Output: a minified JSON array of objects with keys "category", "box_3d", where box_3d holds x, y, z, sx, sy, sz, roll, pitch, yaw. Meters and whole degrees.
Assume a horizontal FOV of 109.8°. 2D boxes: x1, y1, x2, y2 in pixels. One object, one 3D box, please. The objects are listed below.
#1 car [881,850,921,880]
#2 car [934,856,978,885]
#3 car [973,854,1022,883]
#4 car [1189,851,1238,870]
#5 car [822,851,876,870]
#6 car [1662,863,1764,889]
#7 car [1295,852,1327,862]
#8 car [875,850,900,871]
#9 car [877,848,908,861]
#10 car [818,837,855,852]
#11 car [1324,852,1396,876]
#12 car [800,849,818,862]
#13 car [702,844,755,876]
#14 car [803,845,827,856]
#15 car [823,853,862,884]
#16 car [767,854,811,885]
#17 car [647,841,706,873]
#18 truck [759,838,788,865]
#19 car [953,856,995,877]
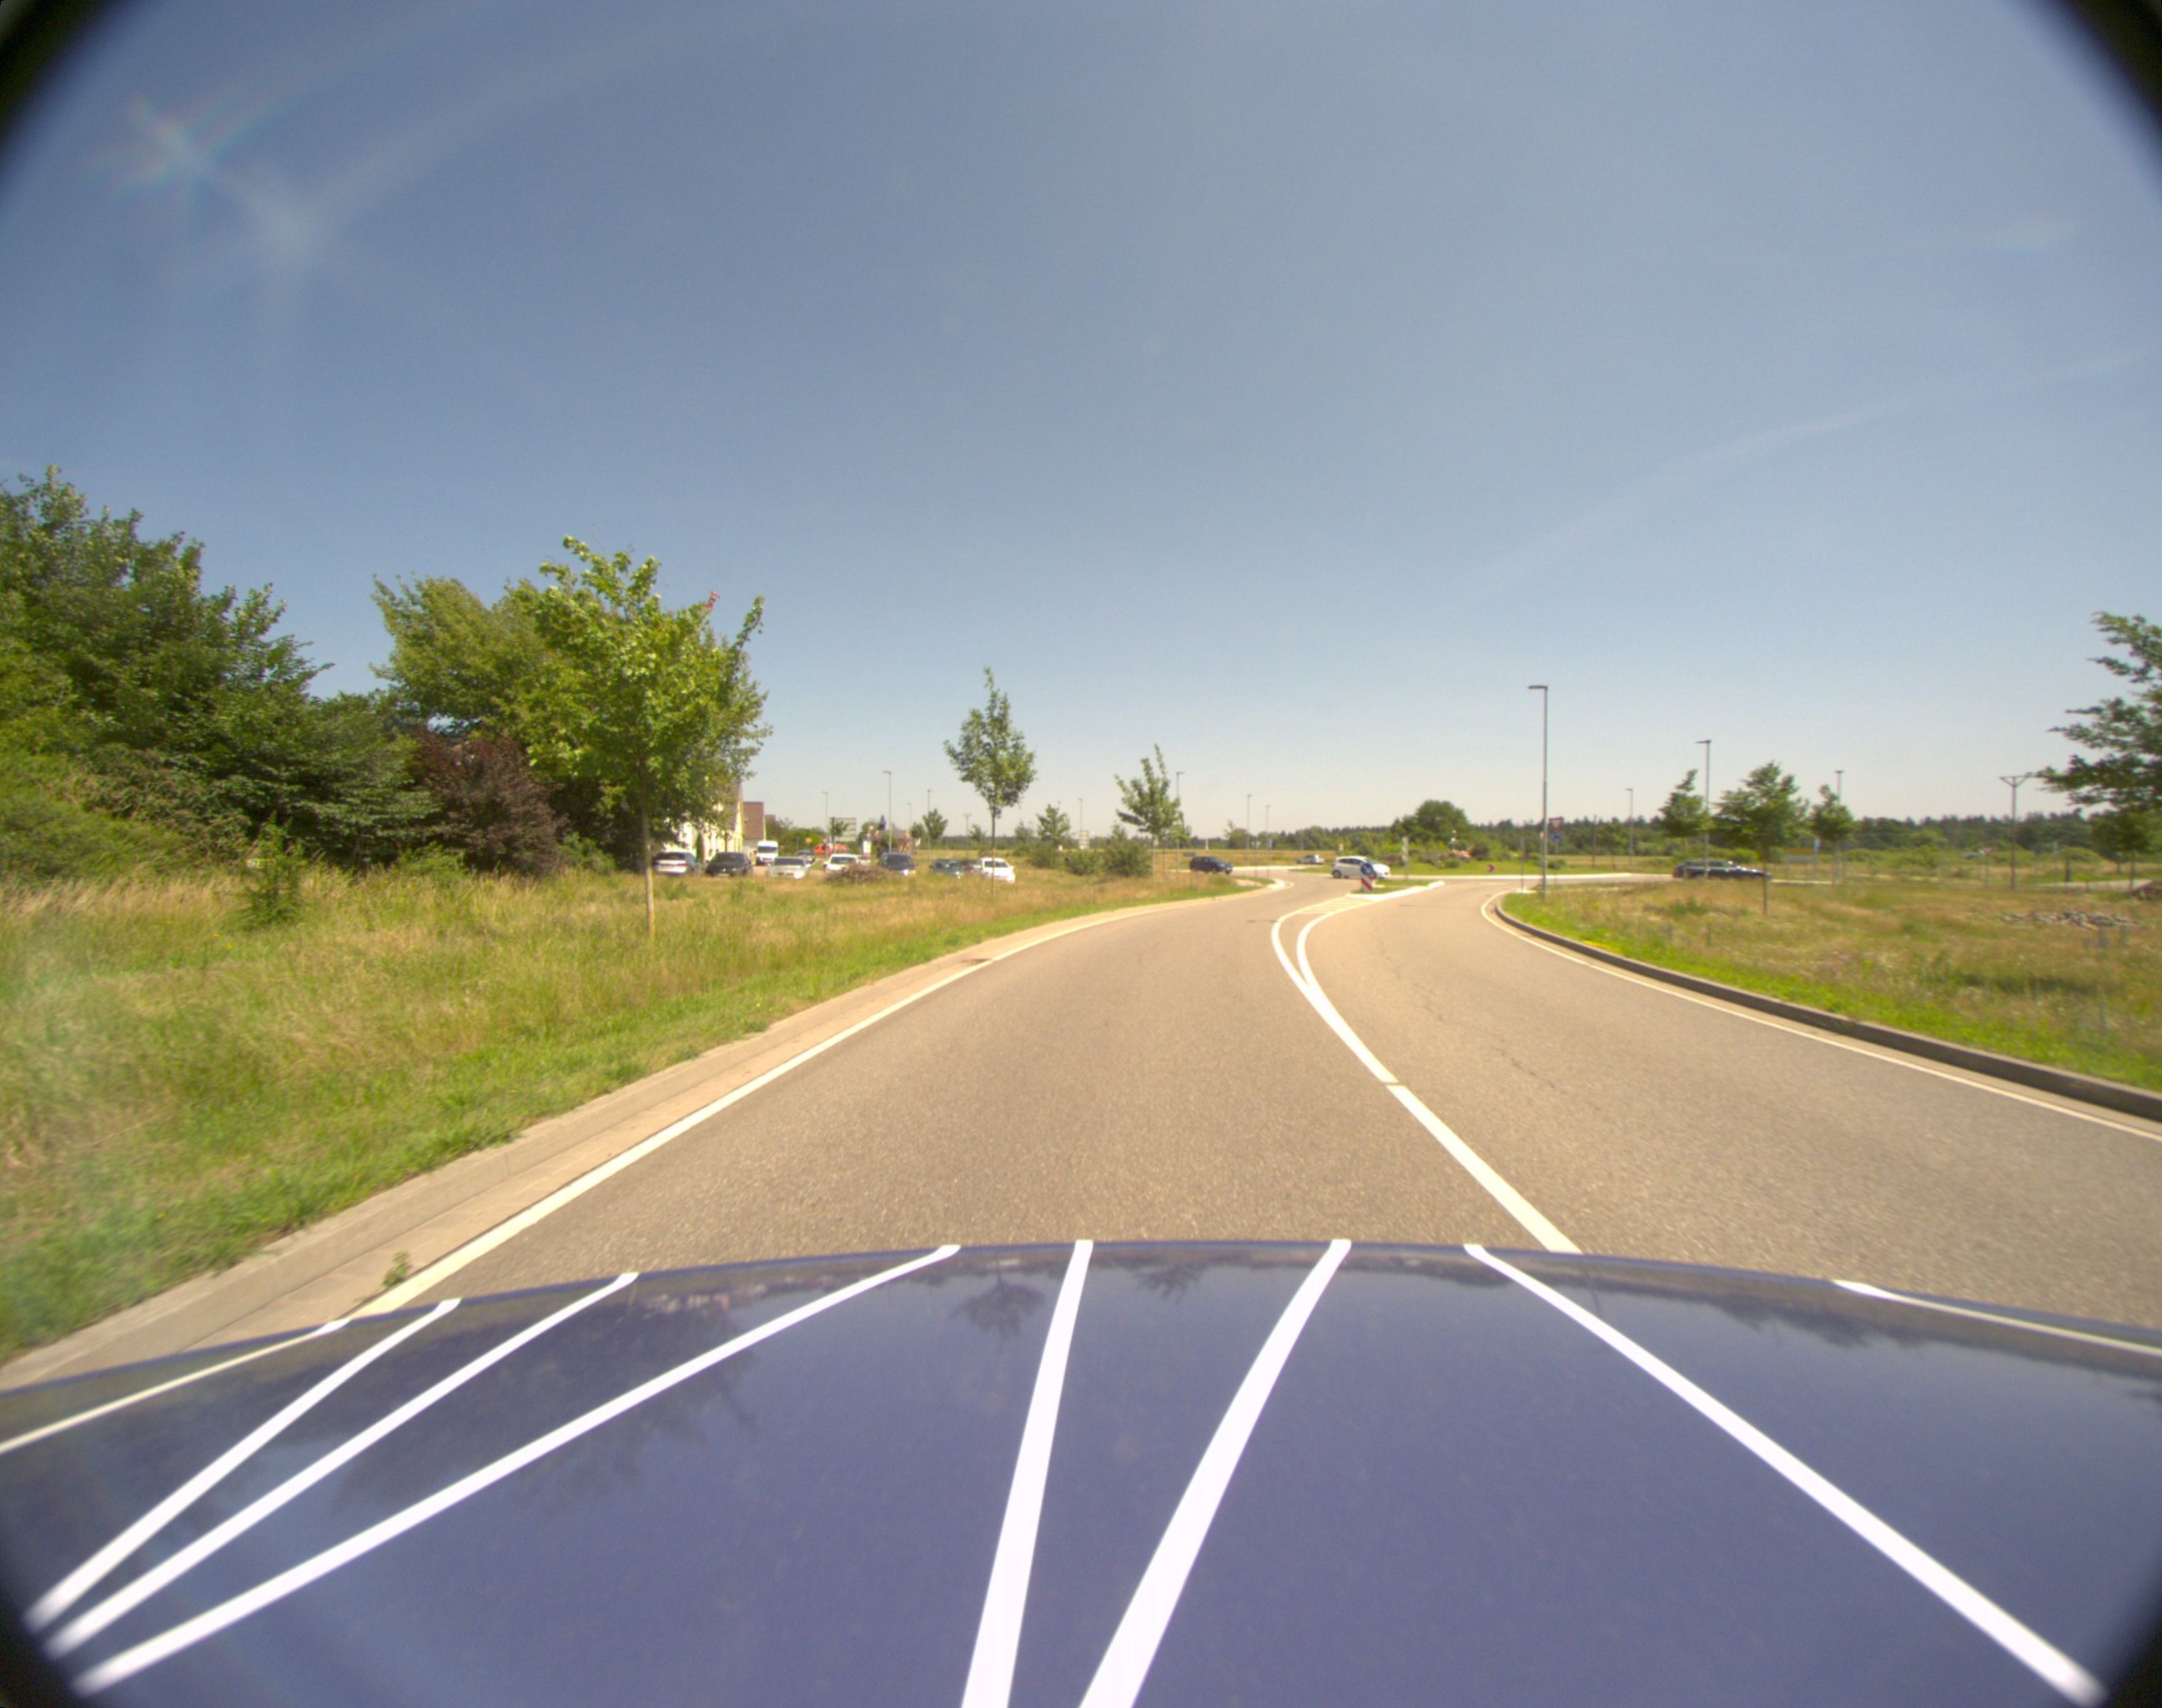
[{"category":"car","box_3d":[-9.154,0.579,38.447,1.775,1.434,3.961,0,-1,-17]},{"category":"car","box_3d":[-6.497,0.838,39.266,1.775,1.434,3.961,0,-1,-17]},{"category":"car","box_3d":[-4.498,0.742,40.424,1.749,1.419,3.993,0,1,-19]},{"category":"car","box_3d":[11.567,0.552,66.662,1.725,1.553,4.139,-1,2,-37]},{"category":"car","box_3d":[-18.166,0.480,59.509,3.990,1.385,1.654,1,1,24]},{"category":"car","box_3d":[39.351,1.330,47.463,4.510,1.426,1.871,0,3,19]},{"category":"car","box_3d":[33.106,0.436,109.516,2.004,1.477,3.989,0,1,-37]},{"category":"car","box_3d":[-17.833,0.603,69.925,1.856,1.820,3.992,0,1,-21]},{"category":"car","box_3d":[-26.449,0.084,106.719,4.875,1.640,1.957,-1,1,44]},{"category":"car","box_3d":[-45.040,-1.736,140.191,6.135,2.569,2.355,1,1,-5]},{"category":"car","box_3d":[20.171,0.702,55.103,1.873,1.553,4.507,-1,2,-42]},{"category":"car","box_3d":[-30.959,0.172,86.337,1.856,1.487,3.992,0,1,-21]},{"category":"car","box_3d":[-16.621,0.305,36.001,1.775,1.434,3.961,0,-1,-17]},{"category":"car","box_3d":[-33.786,-0.470,96.578,1.854,1.343,3.766,1,1,-3]},{"category":"car","box_3d":[-11.915,0.725,38.073,1.775,1.434,3.961,0,-1,-17]},{"category":"car","box_3d":[-13.890,0.732,36.314,1.775,1.434,3.961,0,-1,-18]},{"category":"car","box_3d":[-19.068,0.157,35.984,1.775,1.434,3.961,0,-1,-17]},{"category":"truck","box_3d":[-30.259,-0.263,74.952,2.239,2.492,5.626,0,1,-18]},{"category":"car","box_3d":[-7.052,0.790,49.779,1.749,1.304,3.991,0,1,-23]}]
